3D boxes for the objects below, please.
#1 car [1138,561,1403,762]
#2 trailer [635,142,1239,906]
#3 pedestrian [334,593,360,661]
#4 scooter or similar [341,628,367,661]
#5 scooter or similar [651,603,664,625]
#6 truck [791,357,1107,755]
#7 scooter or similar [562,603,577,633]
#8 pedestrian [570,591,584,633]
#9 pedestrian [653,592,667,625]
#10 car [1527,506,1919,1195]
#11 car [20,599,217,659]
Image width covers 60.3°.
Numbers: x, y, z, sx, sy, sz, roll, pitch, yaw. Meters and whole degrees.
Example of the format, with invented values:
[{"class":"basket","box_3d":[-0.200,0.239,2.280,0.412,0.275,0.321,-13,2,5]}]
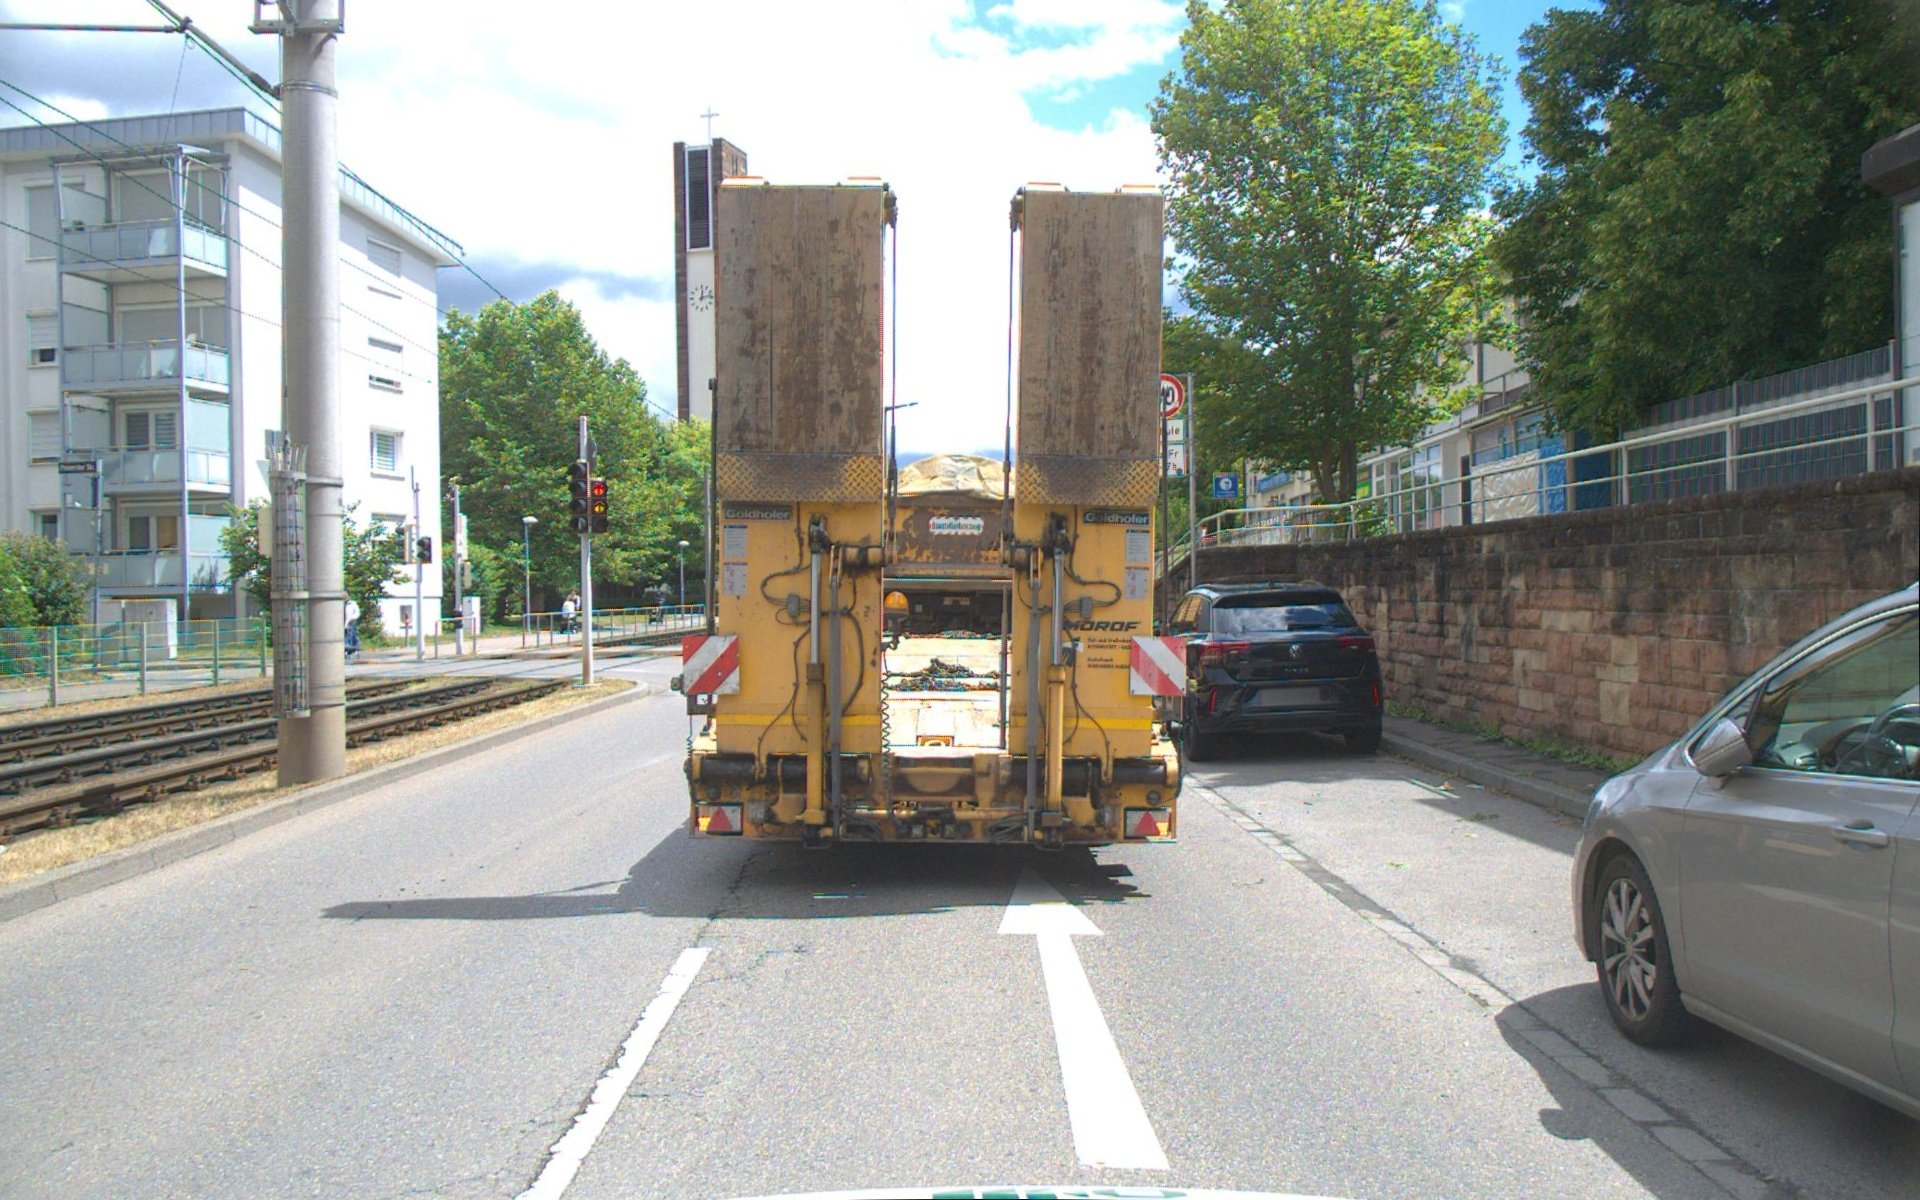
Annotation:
[{"class":"car","box_3d":[2.887,0.522,16.250,1.813,1.668,4.000,-2,0,0]},{"class":"trailer","box_3d":[-0.098,-0.396,12.345,2.885,3.664,8.683,-1,0,0]},{"class":"pedestrian","box_3d":[-14.573,0.630,39.334,0.428,1.608,0.475,0,0,4]},{"class":"scooter or similar","box_3d":[-14.278,1.056,38.978,0.428,0.760,0.475,0,0,4]},{"class":"scooter or similar","box_3d":[-14.225,0.659,77.748,0.495,0.988,0.645,1,0,-2]},{"class":"truck","box_3d":[-0.102,-0.417,17.604,2.882,3.635,4.876,0,0,0]},{"class":"scooter or similar","box_3d":[-14.392,0.671,61.007,0.331,1.076,0.688,0,1,4]},{"class":"pedestrian","box_3d":[-14.289,0.434,61.686,0.341,1.564,0.557,-1,0,3]},{"class":"pedestrian","box_3d":[-14.207,0.389,78.402,0.552,1.540,0.645,1,0,-2]},{"class":"car","box_3d":[3.139,0.571,4.264,1.754,1.646,4.247,-2,0,-2]},{"class":"car","box_3d":[-20.618,0.703,40.614,3.902,1.369,1.903,-1,0,7]}]
